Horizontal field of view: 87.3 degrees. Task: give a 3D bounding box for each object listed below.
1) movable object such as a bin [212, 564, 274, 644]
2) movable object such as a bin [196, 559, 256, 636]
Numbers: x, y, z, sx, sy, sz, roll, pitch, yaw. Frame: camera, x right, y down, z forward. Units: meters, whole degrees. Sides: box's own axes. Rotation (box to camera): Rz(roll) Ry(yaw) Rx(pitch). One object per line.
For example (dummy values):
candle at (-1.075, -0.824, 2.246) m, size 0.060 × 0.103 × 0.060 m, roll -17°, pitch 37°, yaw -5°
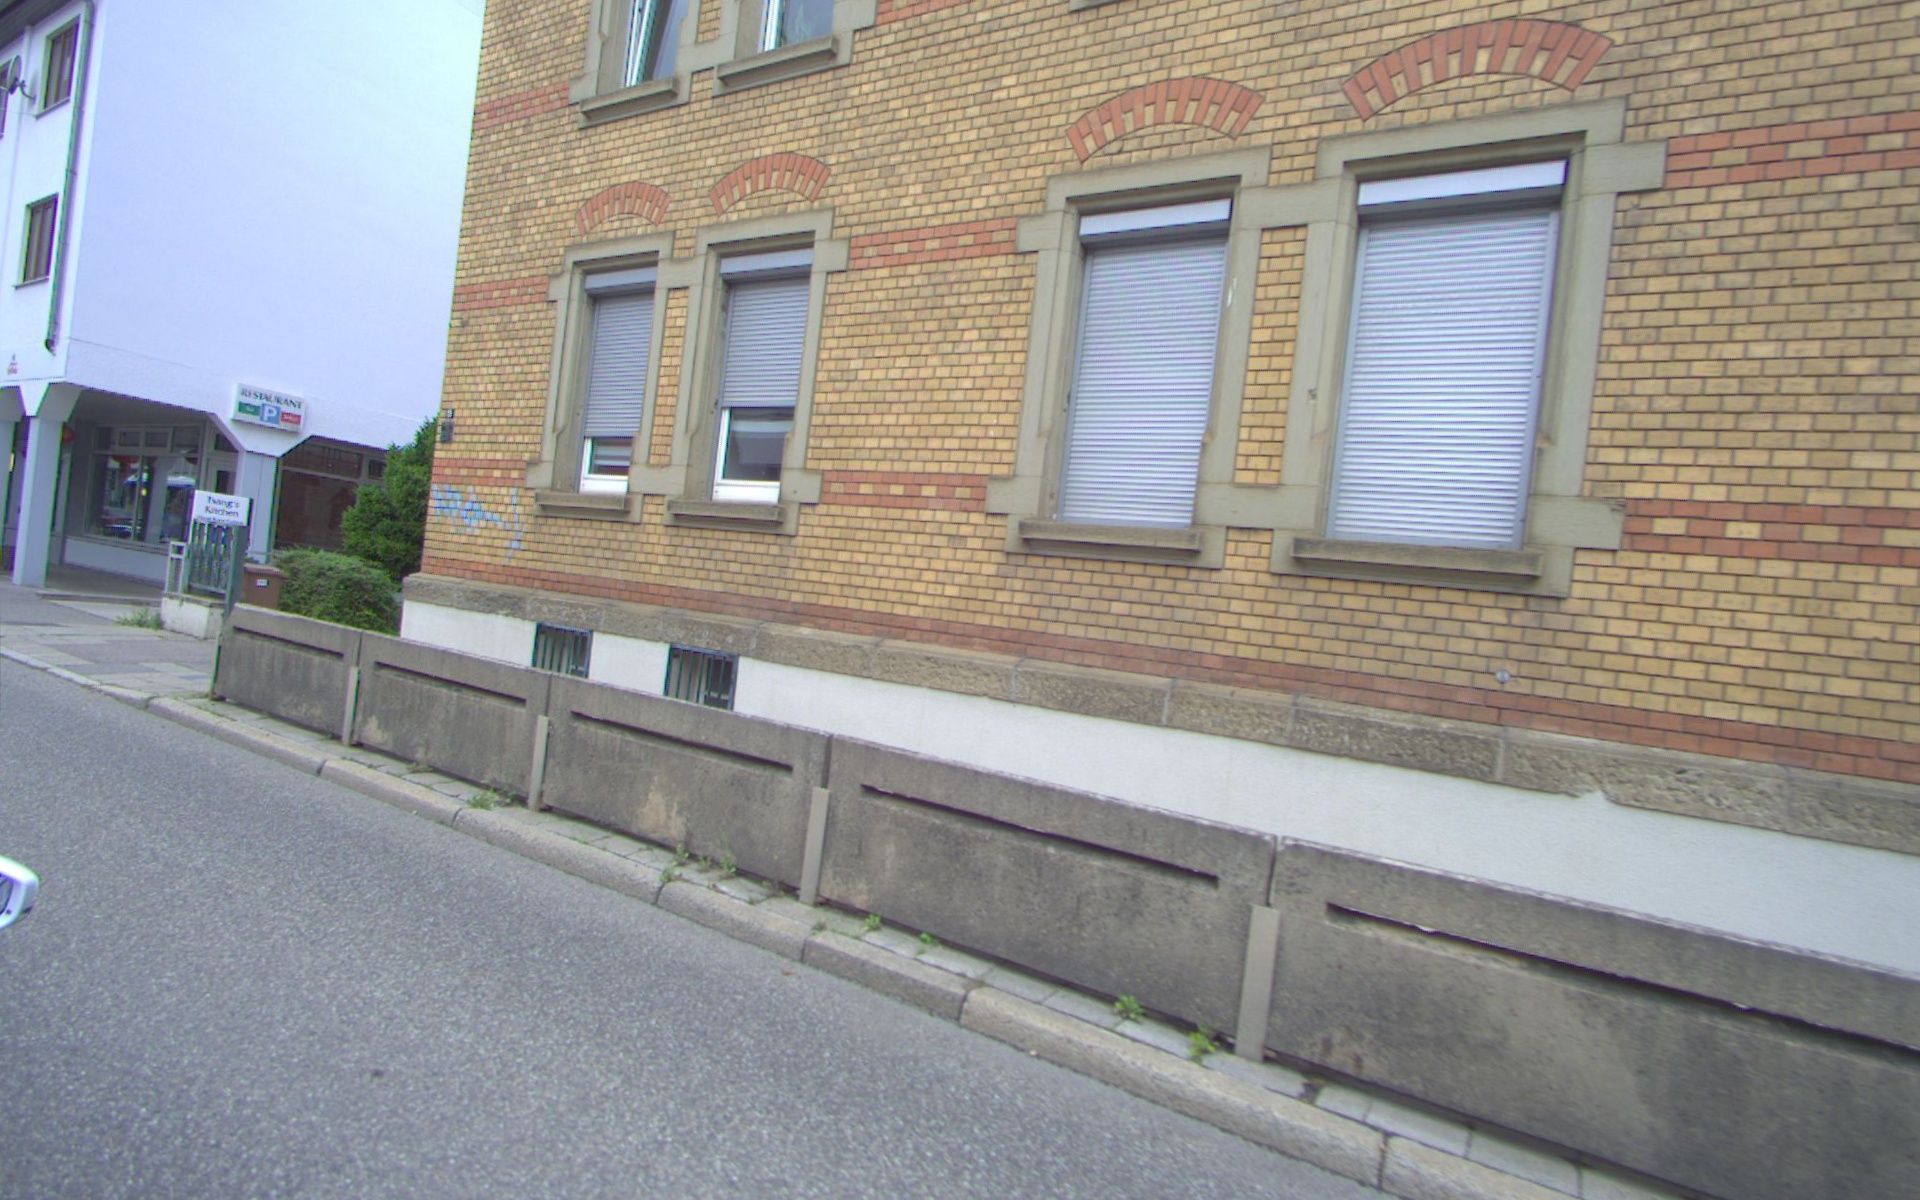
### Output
movable object such as a bin at (-8.876, 0.051, 12.458) m, size 0.449 × 0.914 × 0.398 m, roll 7°, pitch 0°, yaw 32°
movable object such as a bin at (-9.349, -0.030, 12.820) m, size 0.449 × 0.914 × 0.398 m, roll 7°, pitch 0°, yaw 32°
